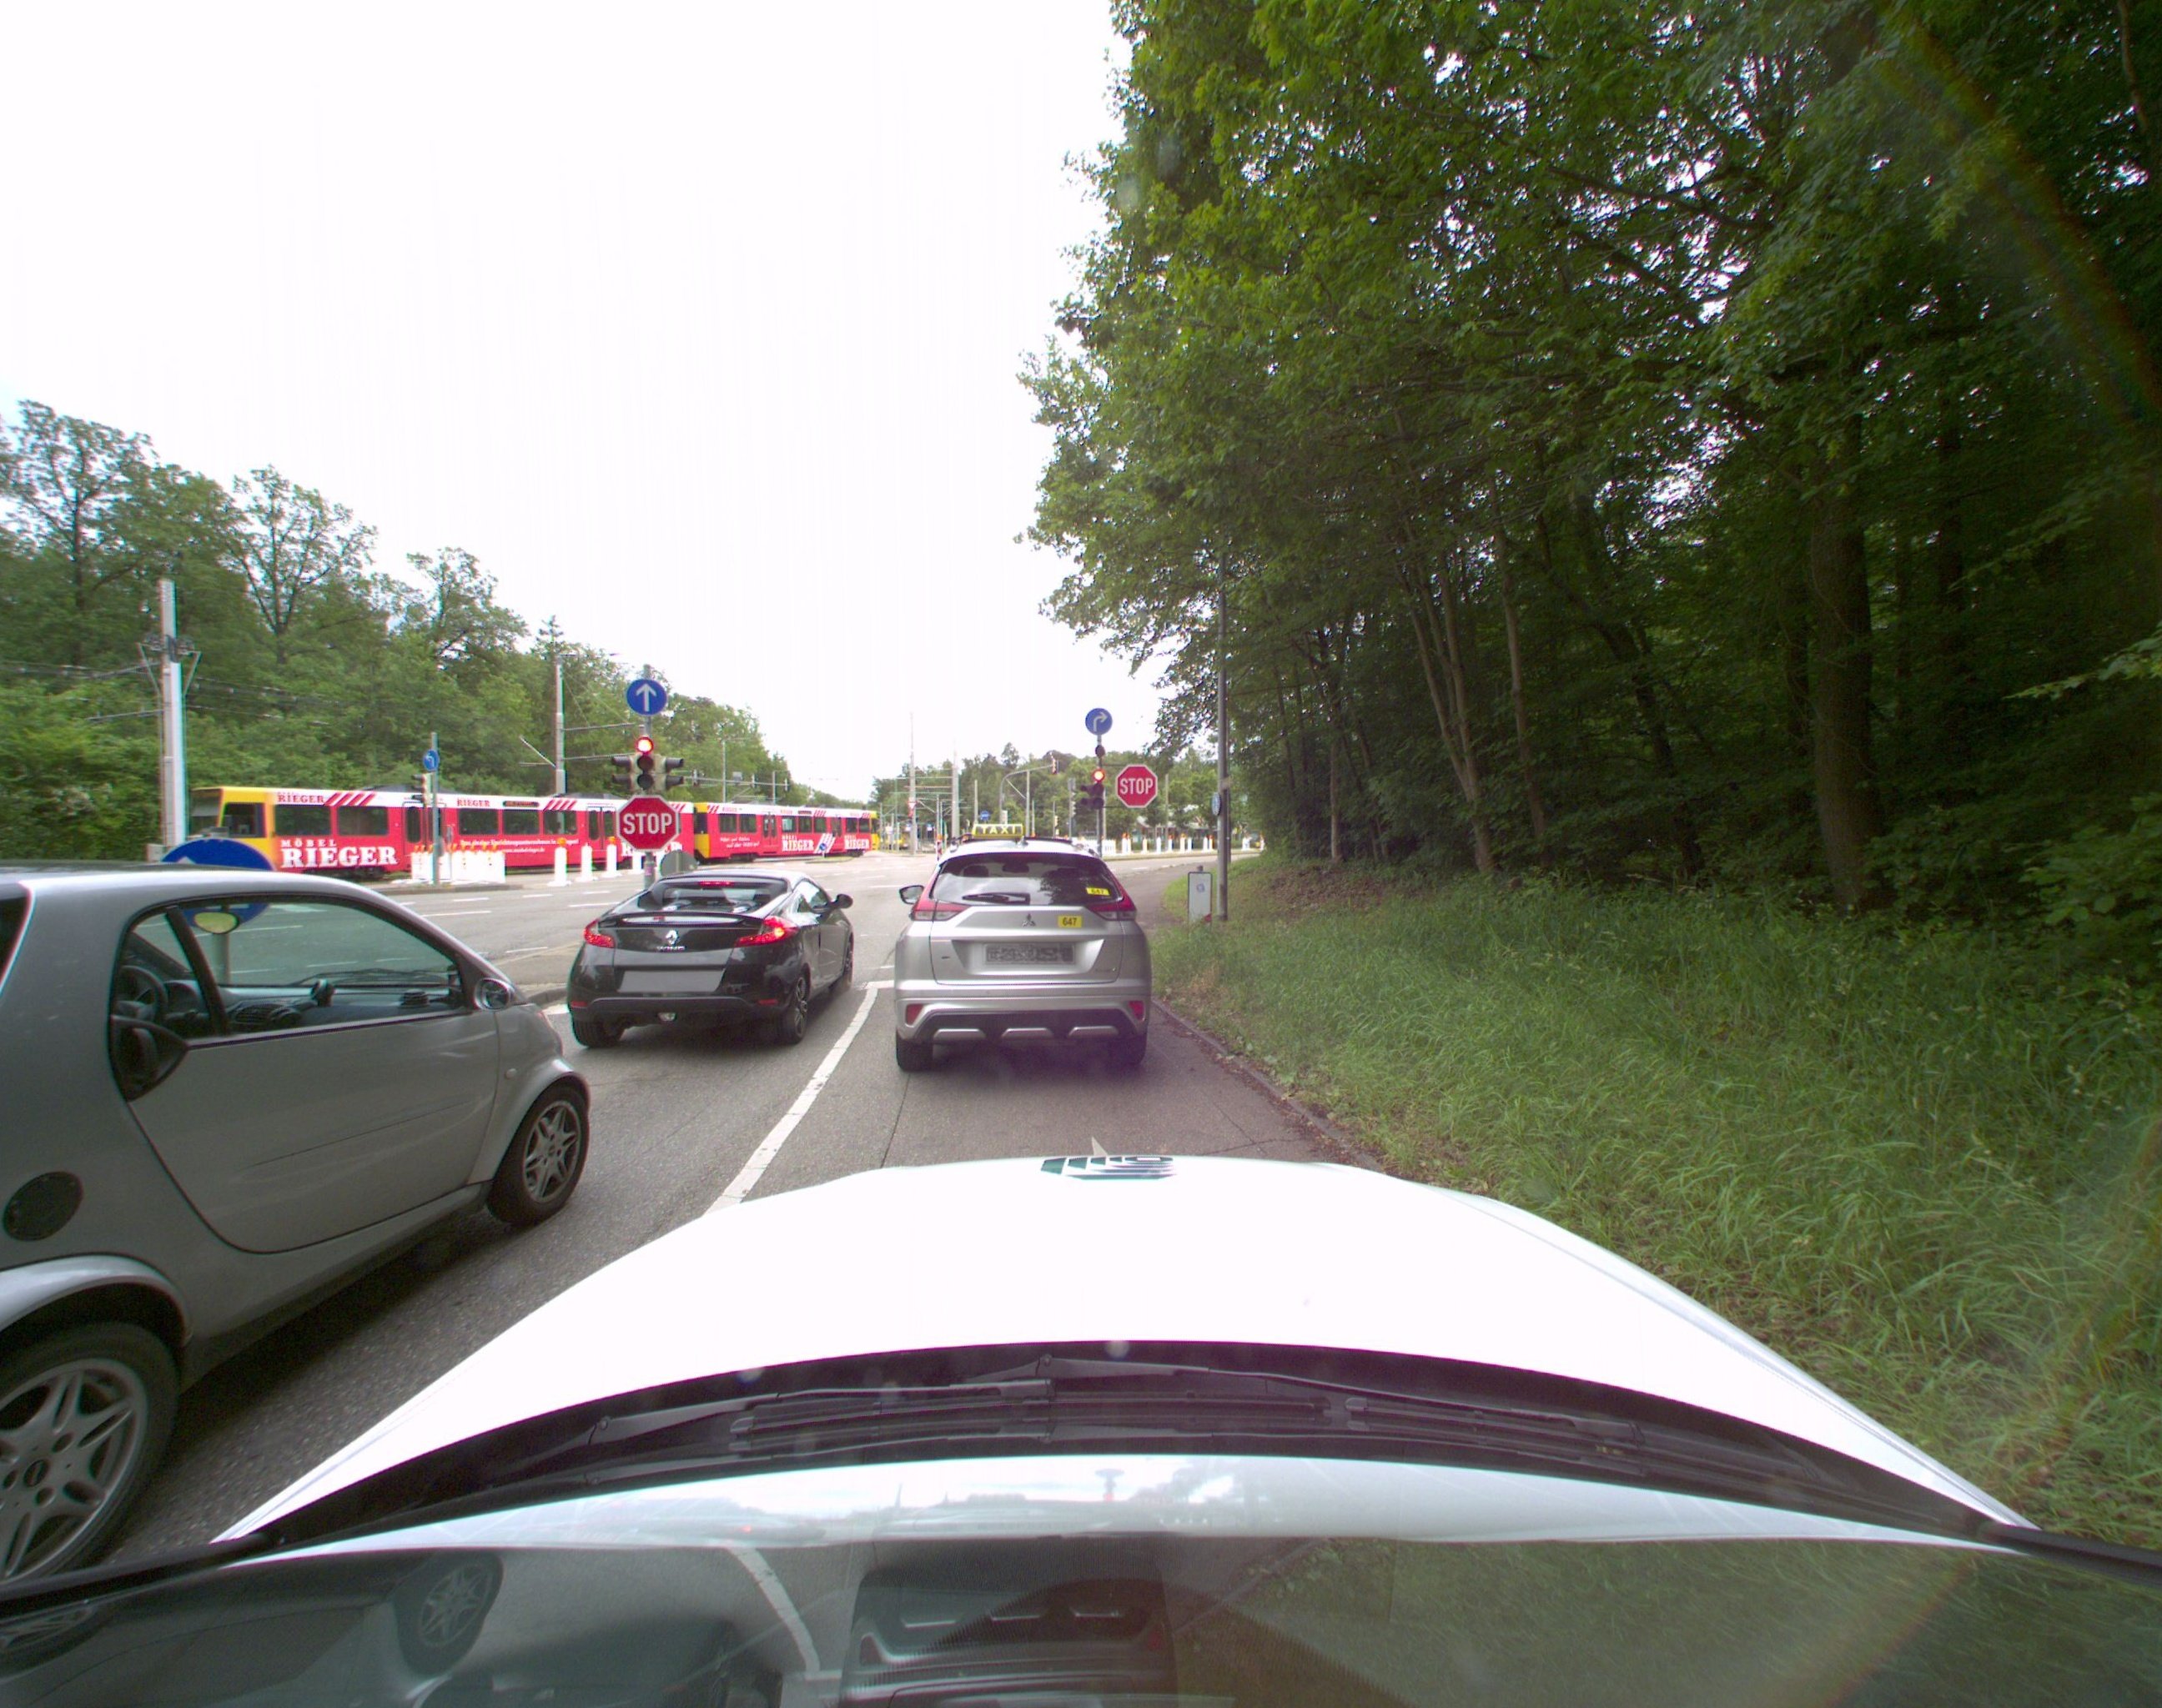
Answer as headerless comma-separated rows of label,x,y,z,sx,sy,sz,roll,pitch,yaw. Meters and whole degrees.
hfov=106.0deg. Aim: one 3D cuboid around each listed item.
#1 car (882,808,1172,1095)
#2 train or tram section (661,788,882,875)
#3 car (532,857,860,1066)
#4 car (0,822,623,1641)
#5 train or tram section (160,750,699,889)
car,-0.526,0.584,6.957,1.772,1.748,3.772,1,1,-7
train or tram section,-19.030,-1.155,53.090,2.924,4.650,18.622,-1,-1,16
car,-3.192,0.759,7.552,1.773,1.361,3.466,-1,1,-9
car,-2.915,0.731,2.608,1.455,1.586,2.724,-1,1,-4
train or tram section,-25.441,-1.043,35.110,2.929,4.418,18.834,-1,-1,24
